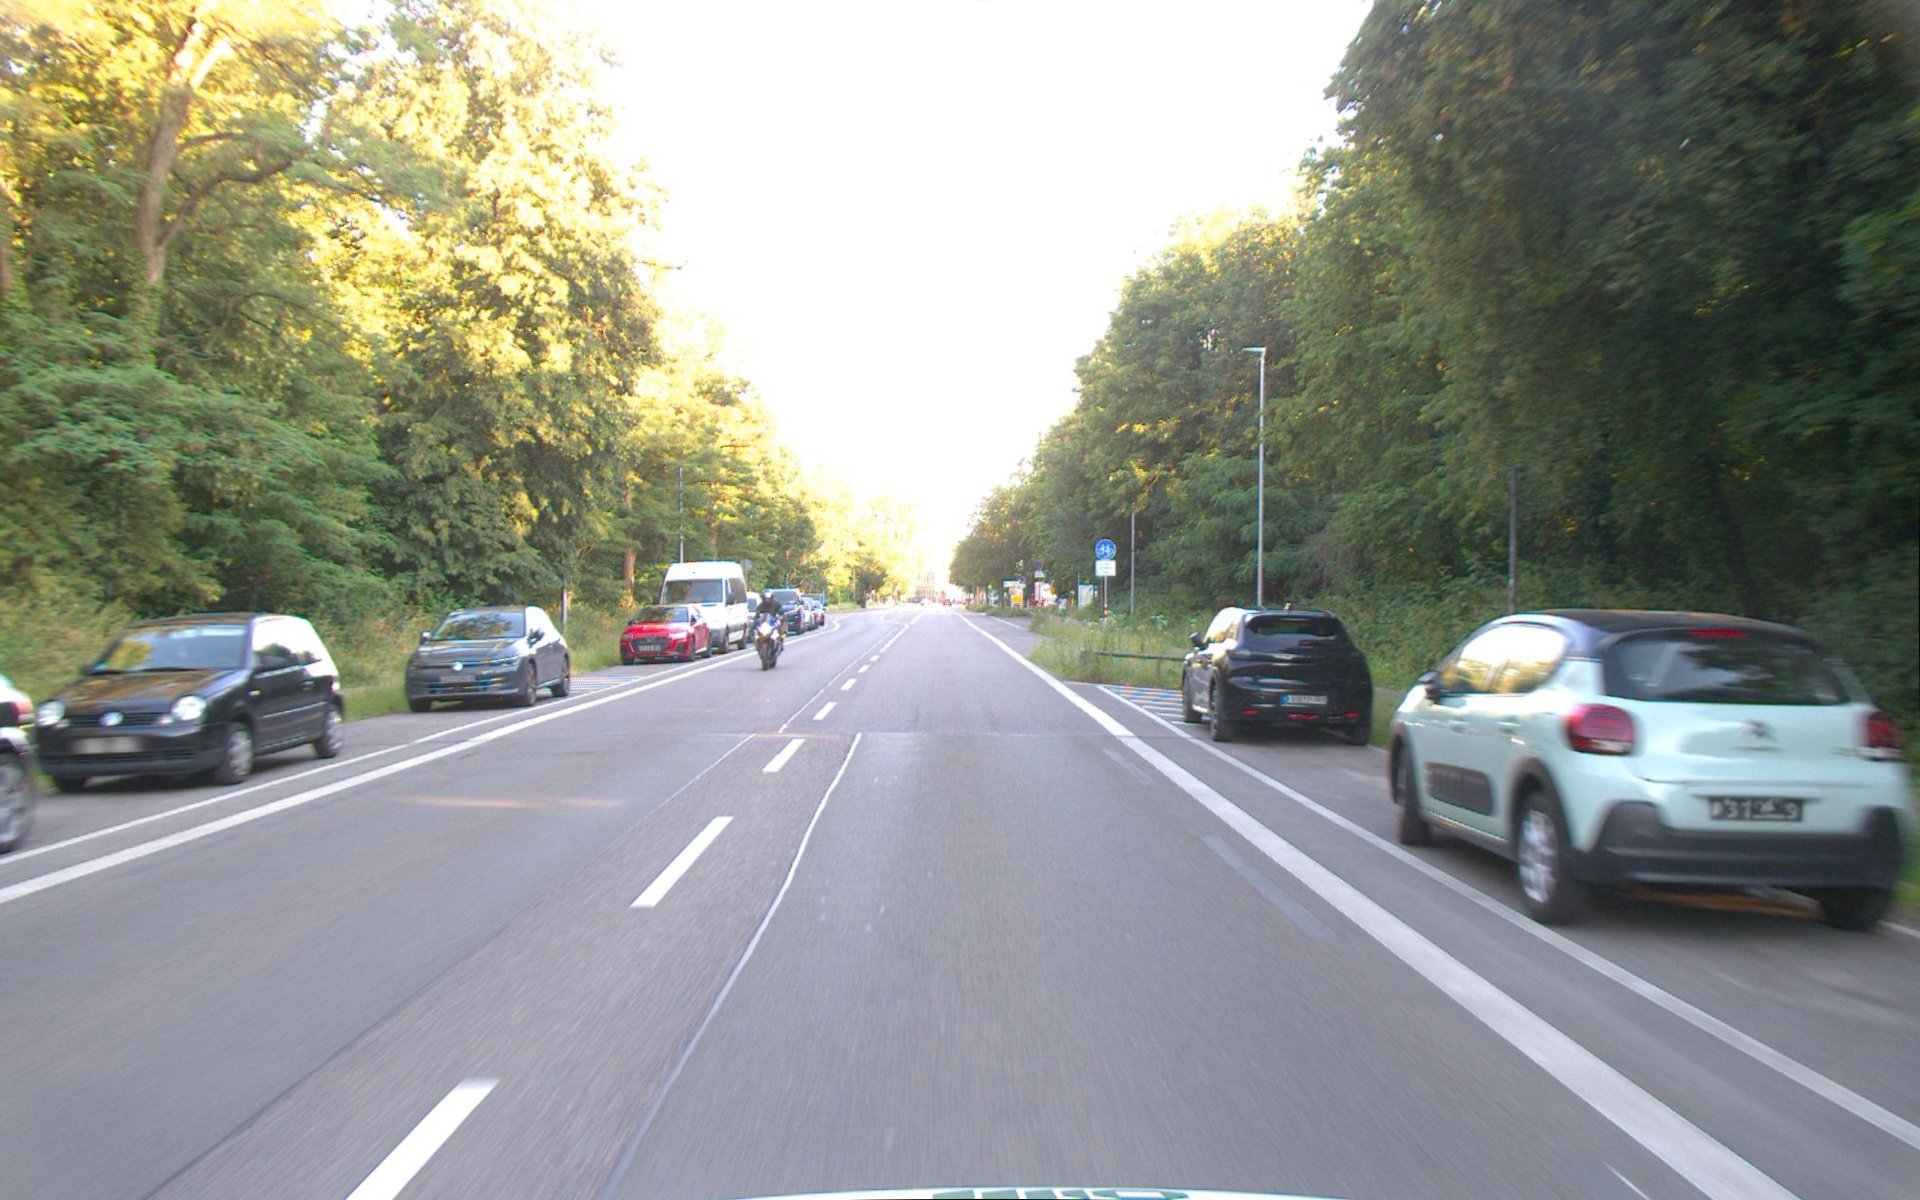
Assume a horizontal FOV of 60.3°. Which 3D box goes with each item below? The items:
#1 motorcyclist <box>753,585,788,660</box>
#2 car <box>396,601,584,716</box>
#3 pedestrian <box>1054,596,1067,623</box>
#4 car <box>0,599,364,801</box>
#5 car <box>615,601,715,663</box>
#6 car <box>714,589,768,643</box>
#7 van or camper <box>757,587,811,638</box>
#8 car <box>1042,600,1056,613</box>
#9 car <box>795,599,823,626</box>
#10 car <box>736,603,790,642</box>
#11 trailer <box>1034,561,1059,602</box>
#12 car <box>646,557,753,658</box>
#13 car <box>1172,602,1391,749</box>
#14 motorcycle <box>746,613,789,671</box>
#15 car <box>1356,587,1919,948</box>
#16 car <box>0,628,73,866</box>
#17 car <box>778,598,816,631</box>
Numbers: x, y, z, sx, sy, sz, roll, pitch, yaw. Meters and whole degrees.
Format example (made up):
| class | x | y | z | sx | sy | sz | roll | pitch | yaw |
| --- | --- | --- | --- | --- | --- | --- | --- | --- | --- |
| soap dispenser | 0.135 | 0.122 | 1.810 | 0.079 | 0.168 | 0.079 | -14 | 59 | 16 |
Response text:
| class | x | y | z | sx | sy | sz | roll | pitch | yaw |
| --- | --- | --- | --- | --- | --- | --- | --- | --- | --- |
| motorcyclist | -3.971 | 0.469 | 34.744 | 0.591 | 1.556 | 0.995 | 0 | 0 | 1 |
| car | -7.035 | 0.820 | 25.172 | 1.809 | 1.488 | 4.227 | -2 | 0 | -3 |
| pedestrian | 6.563 | 0.620 | 108.202 | 0.821 | 1.782 | 0.726 | 0 | 0 | 0 |
| car | -6.906 | 0.795 | 15.050 | 1.677 | 1.535 | 3.656 | -2 | 0 | -2 |
| car | -7.399 | 0.763 | 41.835 | 1.681 | 1.455 | 4.387 | -1 | 0 | 0 |
| car | -8.073 | 0.564 | 61.324 | 1.654 | 1.890 | 4.384 | 0 | 1 | -3 |
| van or camper | -7.717 | 0.533 | 72.959 | 1.962 | 2.053 | 5.458 | -3 | 0 | -3 |
| car | 11.487 | 0.877 | 213.827 | 1.733 | 1.611 | 4.820 | 1 | 0 | 3 |
| car | -9.282 | 0.753 | 101.488 | 1.585 | 1.561 | 4.035 | -2 | 0 | -6 |
| car | -7.907 | 0.866 | 66.681 | 1.636 | 1.458 | 4.446 | -2 | 0 | -1 |
| trailer | 11.848 | -2.463 | 226.643 | 2.958 | 5.557 | 7.934 | 0 | 0 | 0 |
| car | -7.571 | 0.203 | 48.874 | 2.037 | 2.652 | 7.087 | -3 | 0 | -1 |
| car | 3.599 | 0.782 | 19.199 | 1.676 | 1.470 | 4.122 | 1 | 0 | -1 |
| motorcycle | -3.986 | 0.860 | 34.431 | 0.598 | 1.146 | 1.962 | 0 | 0 | 2 |
| car | 3.569 | 0.724 | 9.330 | 1.654 | 1.573 | 4.112 | 0 | 0 | -1 |
| car | -6.571 | 0.921 | 8.806 | 1.565 | 1.419 | 4.050 | -1 | 0 | -2 |
| car | -8.110 | 0.711 | 82.503 | 1.635 | 1.527 | 4.244 | -2 | 0 | -3 |
